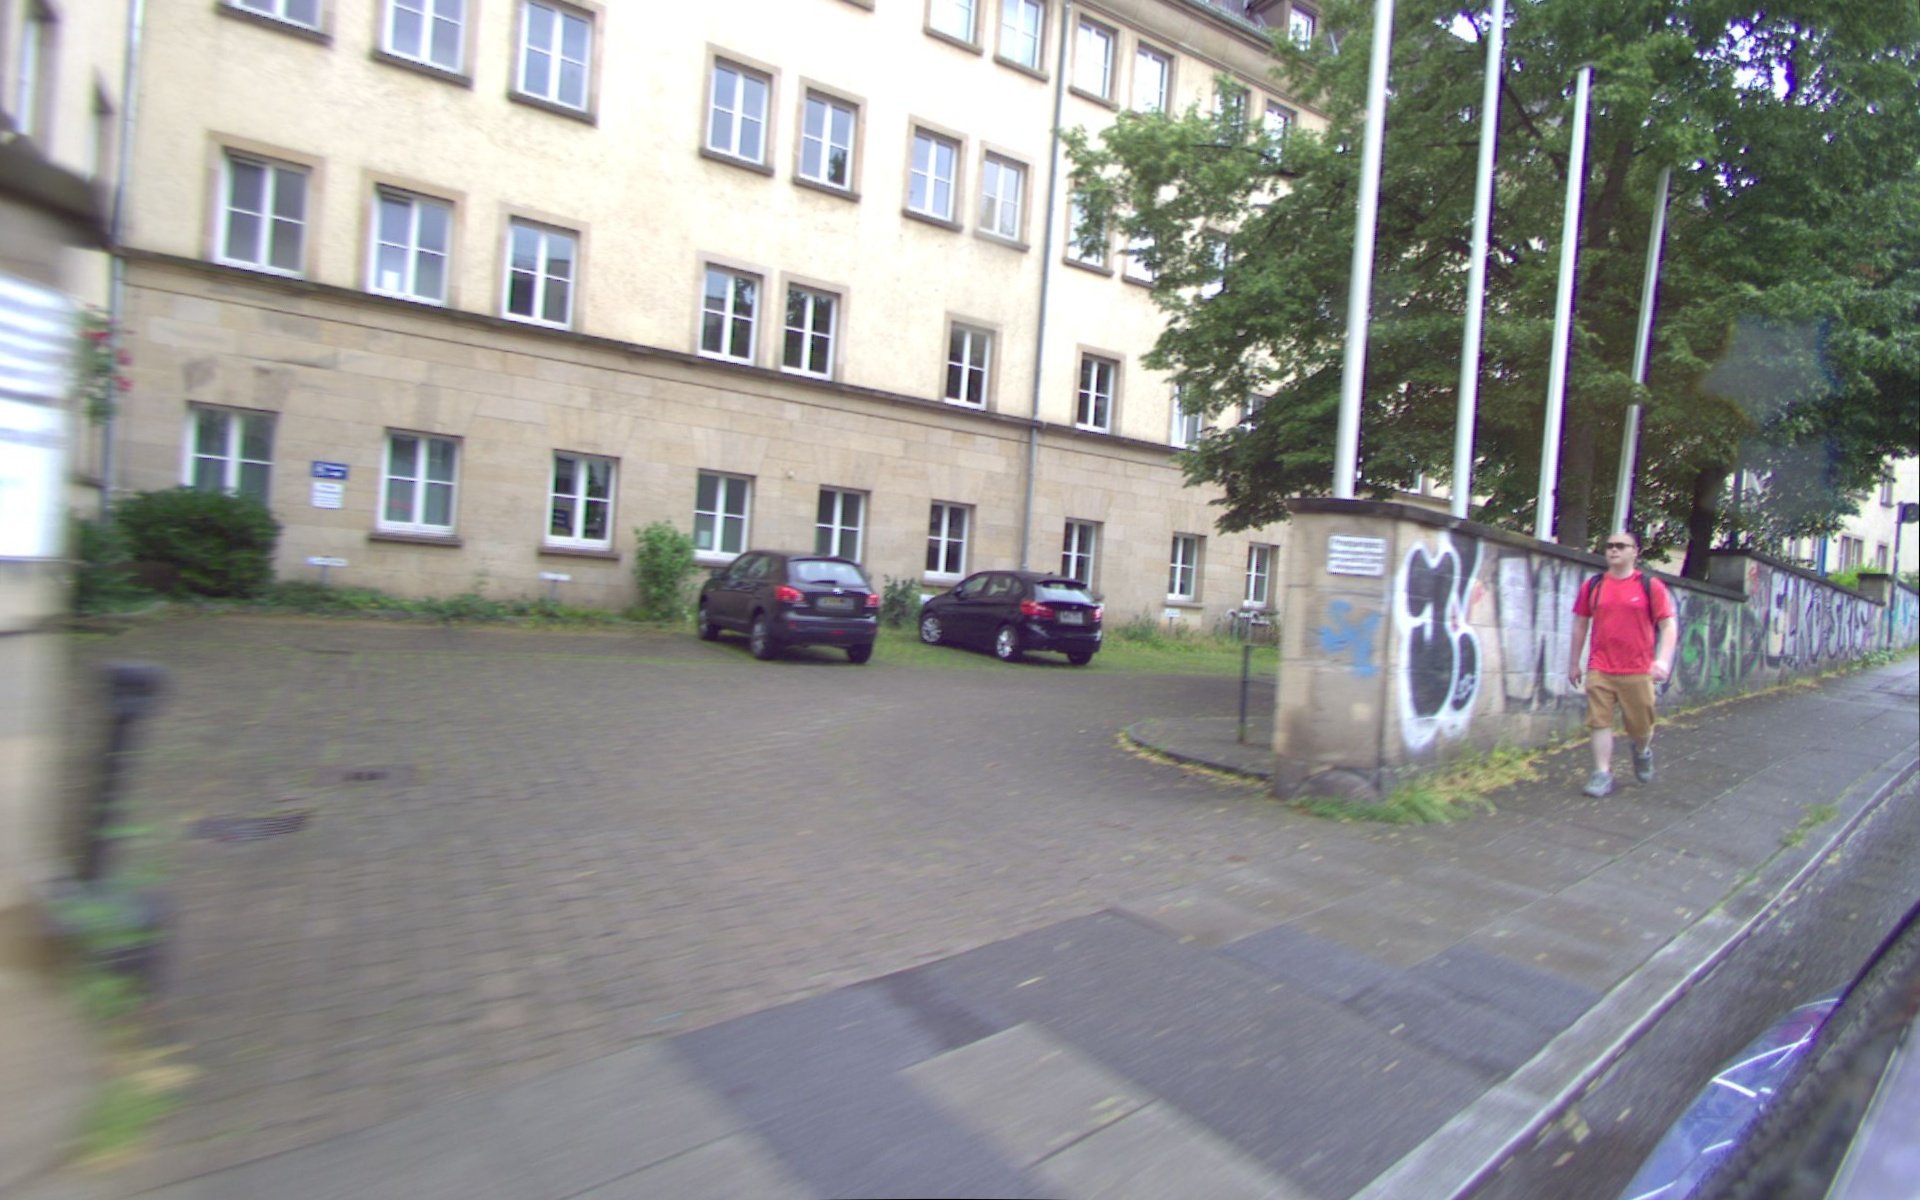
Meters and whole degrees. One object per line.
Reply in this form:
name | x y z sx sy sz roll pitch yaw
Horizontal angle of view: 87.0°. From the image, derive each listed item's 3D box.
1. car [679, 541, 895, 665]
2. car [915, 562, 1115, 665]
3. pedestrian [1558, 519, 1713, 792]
car | -2.903 -0.041 16.055 1.759 1.607 4.470 3 2 -32
car | 0.882 0.184 18.534 1.597 1.516 3.952 4 1 -32
pedestrian | 4.606 0.340 6.906 0.698 1.742 0.634 1 2 -39
